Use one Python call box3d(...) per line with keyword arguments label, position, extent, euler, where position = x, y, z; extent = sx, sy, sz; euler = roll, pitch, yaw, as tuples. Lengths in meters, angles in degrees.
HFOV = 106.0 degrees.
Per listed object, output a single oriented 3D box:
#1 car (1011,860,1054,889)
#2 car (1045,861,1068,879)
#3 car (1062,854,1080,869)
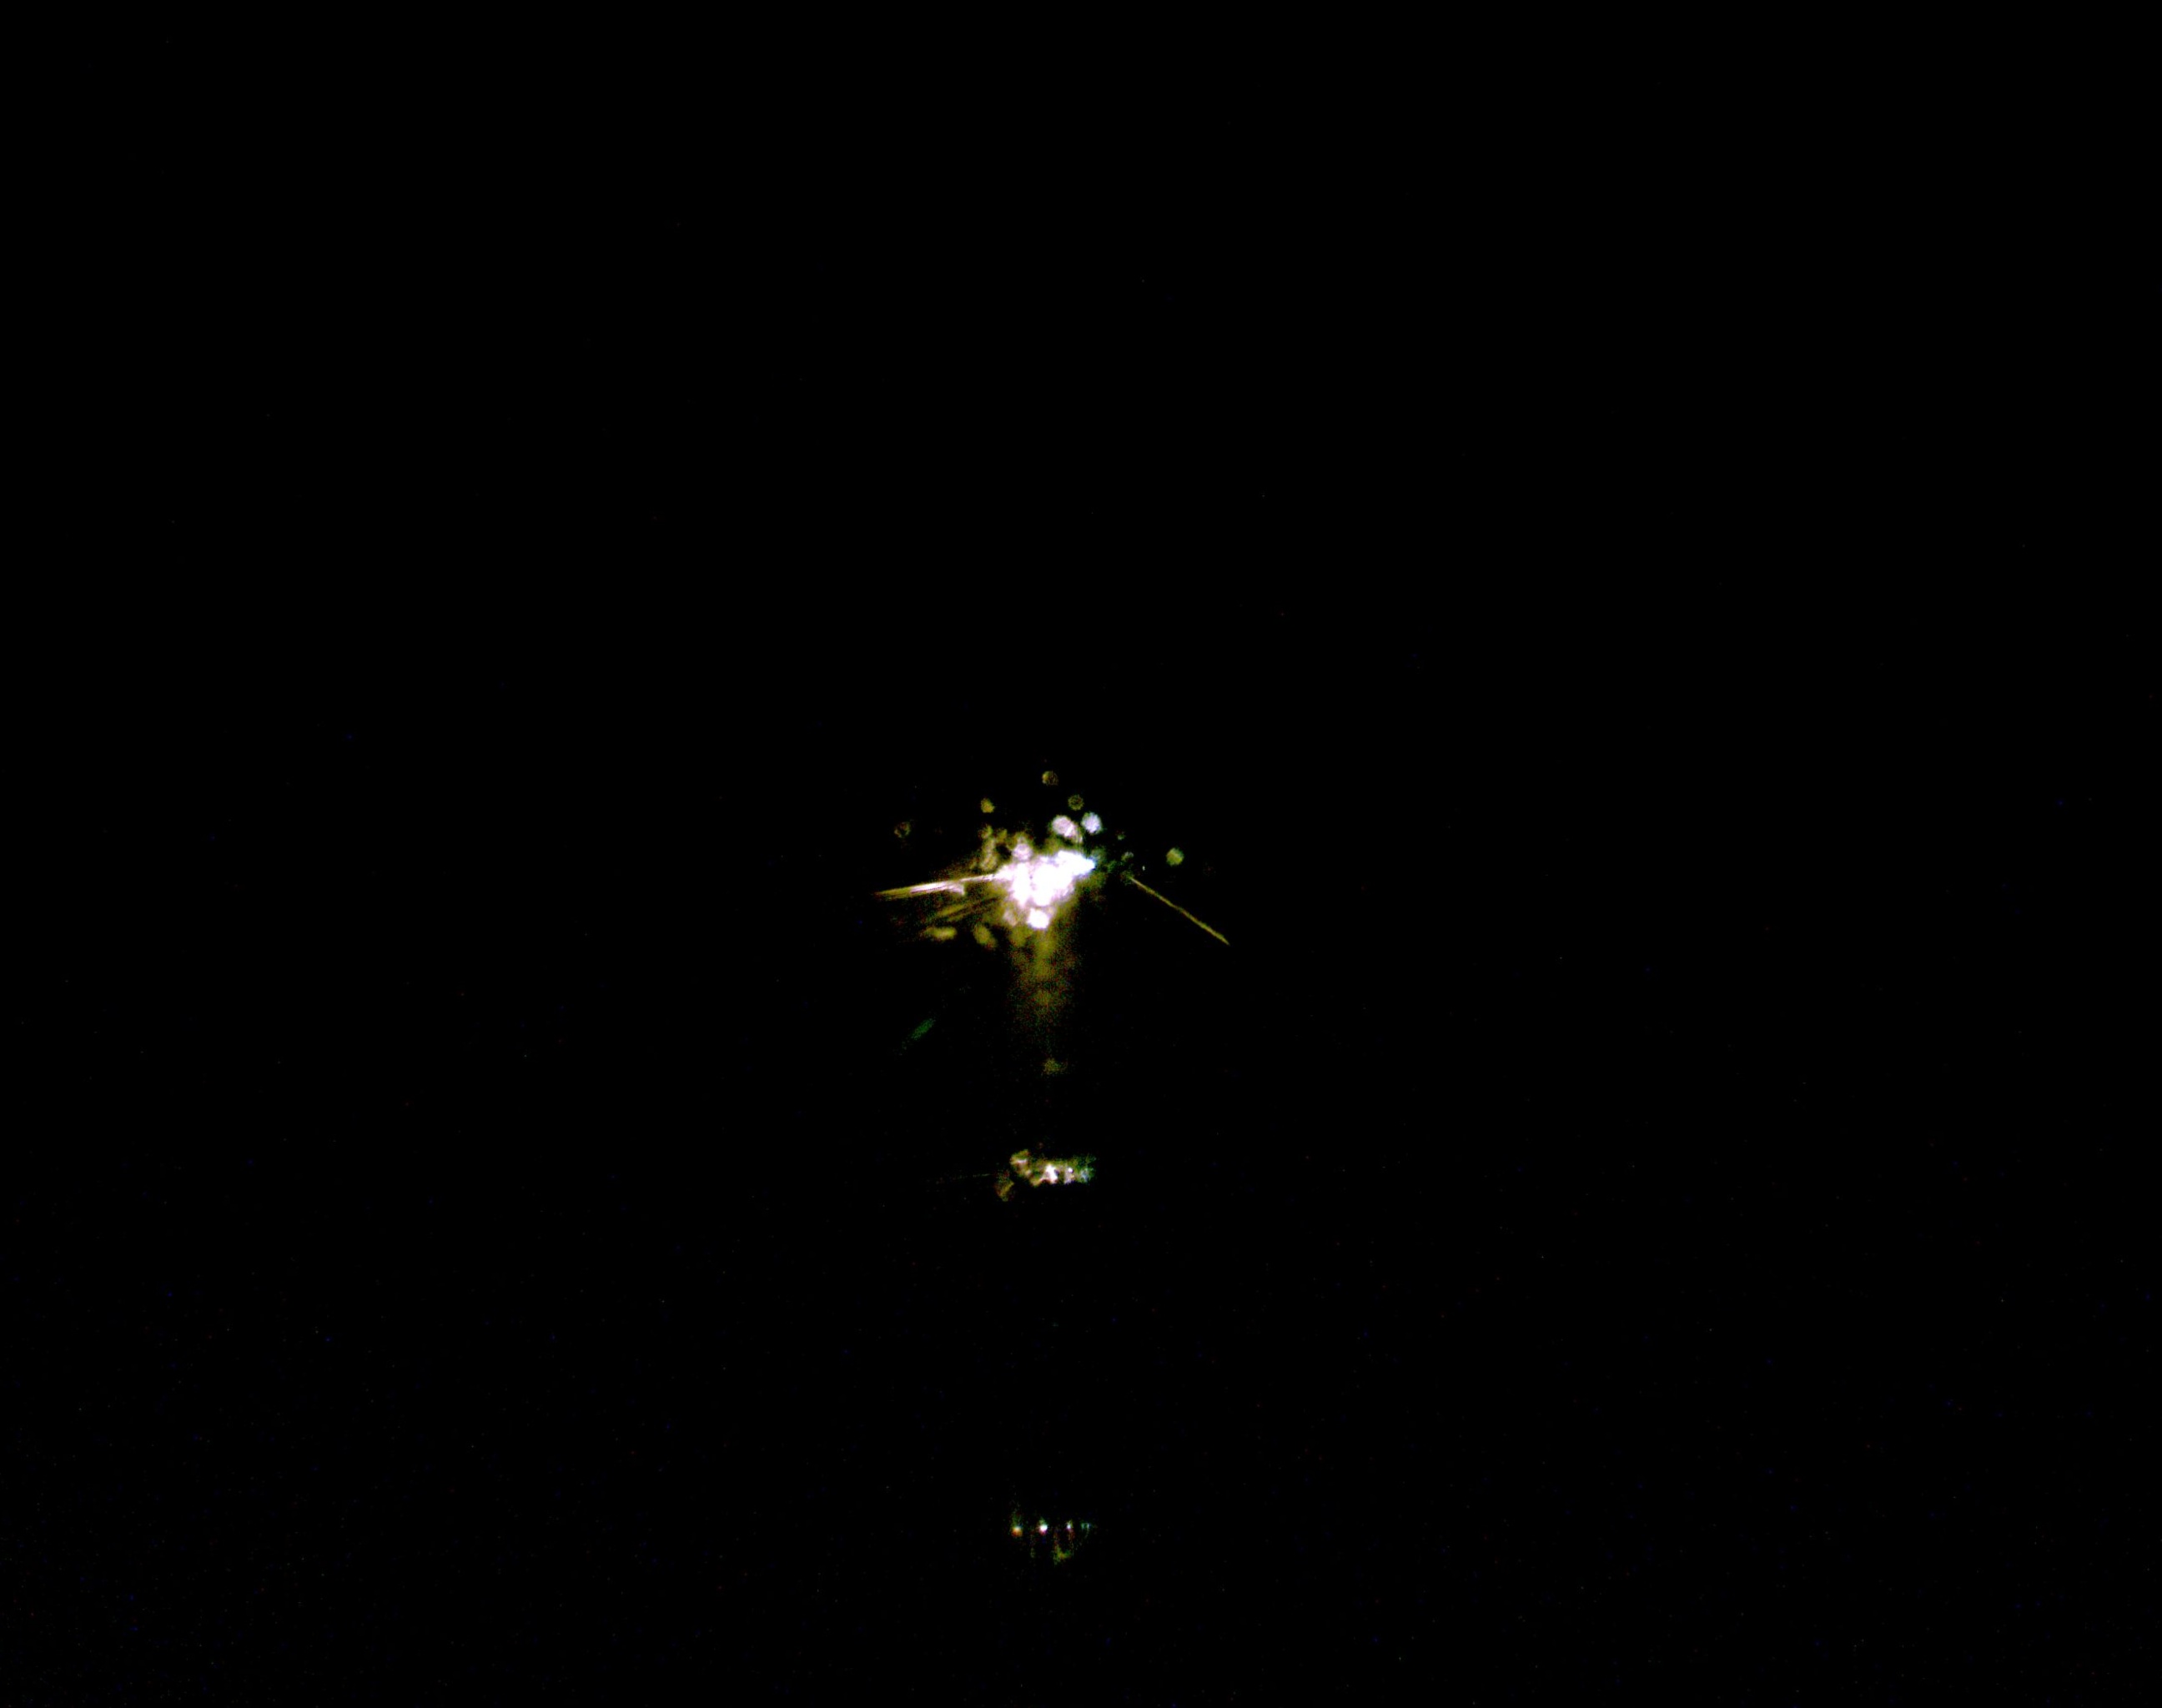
box3d(label="car", position=(-2.575, 1.074, 44.275), extent=(1.986, 1.475, 3.925), euler=(-1, 0, 1))
box3d(label="car", position=(-2.103, 1.400, 71.209), extent=(1.837, 1.480, 4.249), euler=(-1, 0, 1))
box3d(label="car", position=(-1.159, 0.871, 98.580), extent=(1.986, 1.793, 4.247), euler=(-1, 0, 1))
